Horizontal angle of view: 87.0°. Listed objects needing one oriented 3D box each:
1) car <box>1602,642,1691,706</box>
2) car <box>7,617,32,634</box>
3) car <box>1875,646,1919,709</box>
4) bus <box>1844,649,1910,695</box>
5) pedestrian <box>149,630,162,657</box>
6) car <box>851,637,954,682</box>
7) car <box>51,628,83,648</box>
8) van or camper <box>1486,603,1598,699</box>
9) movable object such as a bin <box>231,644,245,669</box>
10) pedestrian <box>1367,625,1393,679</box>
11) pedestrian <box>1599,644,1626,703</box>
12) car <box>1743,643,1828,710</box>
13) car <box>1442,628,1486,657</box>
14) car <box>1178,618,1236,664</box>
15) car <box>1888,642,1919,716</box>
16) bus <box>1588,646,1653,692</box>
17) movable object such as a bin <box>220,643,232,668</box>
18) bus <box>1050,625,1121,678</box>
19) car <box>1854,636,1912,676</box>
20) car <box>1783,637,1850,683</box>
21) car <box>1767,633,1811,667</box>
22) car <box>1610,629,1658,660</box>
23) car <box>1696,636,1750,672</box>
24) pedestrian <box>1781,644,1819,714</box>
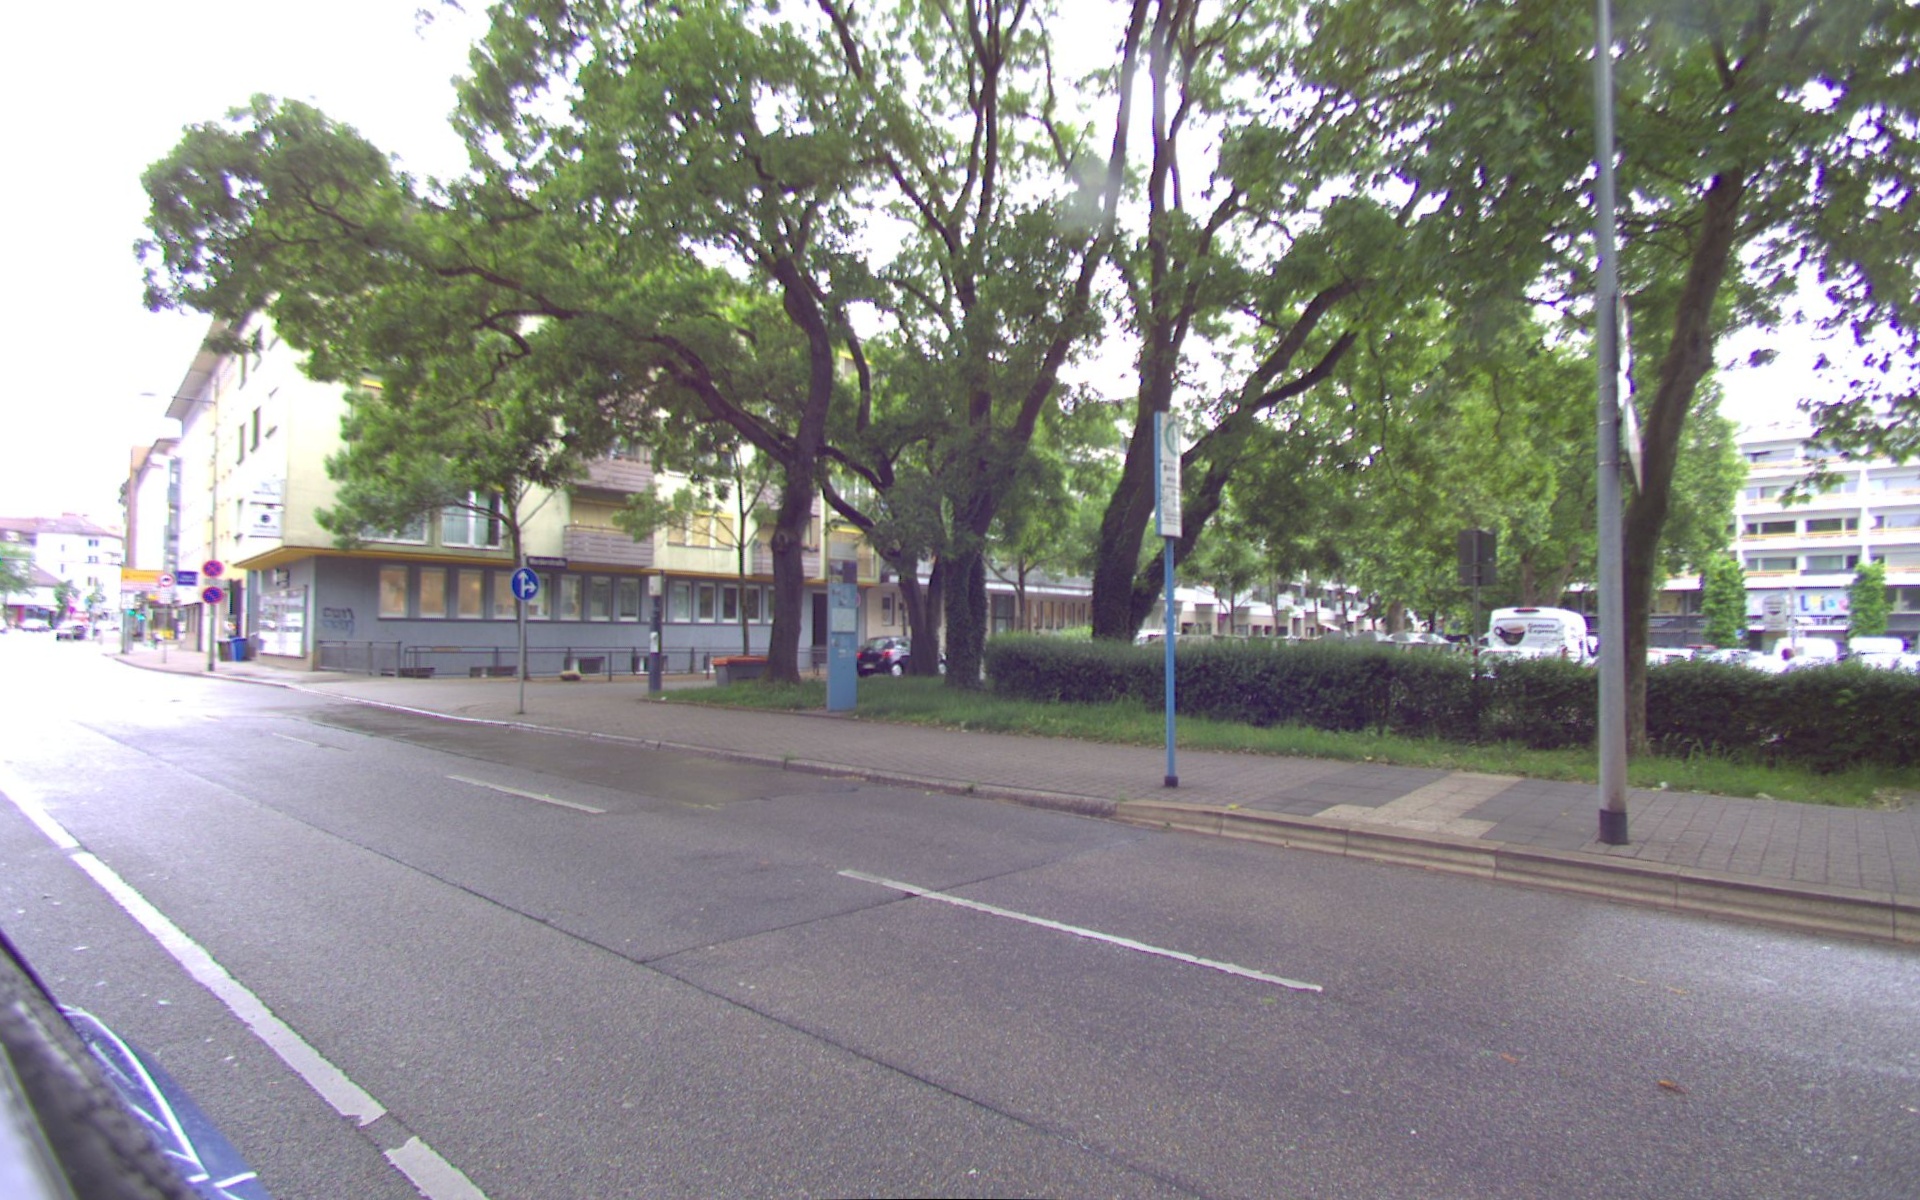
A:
[{"bbox_3d":[16.731,1.764,24.610,1.391,1.446,3.227,-2,-4,41],"label":"car"},{"bbox_3d":[-111.393,3.046,119.849,4.002,1.866,1.971,-2,-4,45],"label":"car"},{"bbox_3d":[23.414,1.885,24.796,1.391,1.446,3.227,-2,-4,41],"label":"car"},{"bbox_3d":[33.155,2.570,36.648,1.604,1.551,3.385,-1,-3,40],"label":"bus"},{"bbox_3d":[-55.250,2.994,69.489,0.586,1.858,0.565,3,-4,-42],"label":"pedestrian"},{"bbox_3d":[-1.966,2.094,35.408,1.572,1.500,3.518,-1,-4,41],"label":"car"},{"bbox_3d":[-82.178,3.493,93.100,4.002,1.730,1.863,-2,-4,45],"label":"car"},{"bbox_3d":[16.844,1.457,29.201,2.097,2.556,4.367,-1,-3,40],"label":"van or camper"},{"bbox_3d":[-29.875,2.323,41.869,0.409,1.037,0.354,3,-4,-42],"label":"movable object such as a bin"},{"bbox_3d":[9.849,1.212,23.729,0.484,1.222,0.433,-1,0,34],"label":"pedestrian"},{"bbox_3d":[13.818,1.546,21.438,0.465,1.222,0.433,-1,0,34],"label":"pedestrian"},{"bbox_3d":[19.236,1.744,23.555,1.391,1.446,3.227,-2,-4,41],"label":"car"},{"bbox_3d":[27.214,2.286,54.613,1.428,1.439,2.926,-2,-1,40],"label":"car"},{"bbox_3d":[11.620,1.934,47.442,1.988,2.029,3.967,0,-3,24],"label":"car"},{"bbox_3d":[20.266,1.628,20.988,1.391,1.446,3.227,-2,-4,41],"label":"car"},{"bbox_3d":[24.154,2.488,36.964,1.604,1.551,3.385,-1,-3,40],"label":"bus"},{"bbox_3d":[-30.156,2.274,41.563,0.333,1.037,0.354,3,-4,-42],"label":"movable object such as a bin"},{"bbox_3d":[4.835,1.963,38.677,1.703,1.939,3.697,0,-3,24],"label":"bus"},{"bbox_3d":[40.411,2.418,44.372,1.639,1.536,3.161,-1,0,38],"label":"car"},{"bbox_3d":[28.172,1.960,33.343,1.604,1.439,3.275,-1,-3,40],"label":"car"},{"bbox_3d":[41.982,2.496,51.293,1.639,1.536,3.161,-1,0,38],"label":"car"},{"bbox_3d":[32.462,2.152,48.722,1.604,1.439,3.275,-1,-3,40],"label":"car"},{"bbox_3d":[35.718,2.480,47.355,1.837,1.435,3.780,-1,0,39],"label":"car"},{"bbox_3d":[15.269,1.432,18.402,0.465,1.222,0.433,-1,0,34],"label":"pedestrian"}]
